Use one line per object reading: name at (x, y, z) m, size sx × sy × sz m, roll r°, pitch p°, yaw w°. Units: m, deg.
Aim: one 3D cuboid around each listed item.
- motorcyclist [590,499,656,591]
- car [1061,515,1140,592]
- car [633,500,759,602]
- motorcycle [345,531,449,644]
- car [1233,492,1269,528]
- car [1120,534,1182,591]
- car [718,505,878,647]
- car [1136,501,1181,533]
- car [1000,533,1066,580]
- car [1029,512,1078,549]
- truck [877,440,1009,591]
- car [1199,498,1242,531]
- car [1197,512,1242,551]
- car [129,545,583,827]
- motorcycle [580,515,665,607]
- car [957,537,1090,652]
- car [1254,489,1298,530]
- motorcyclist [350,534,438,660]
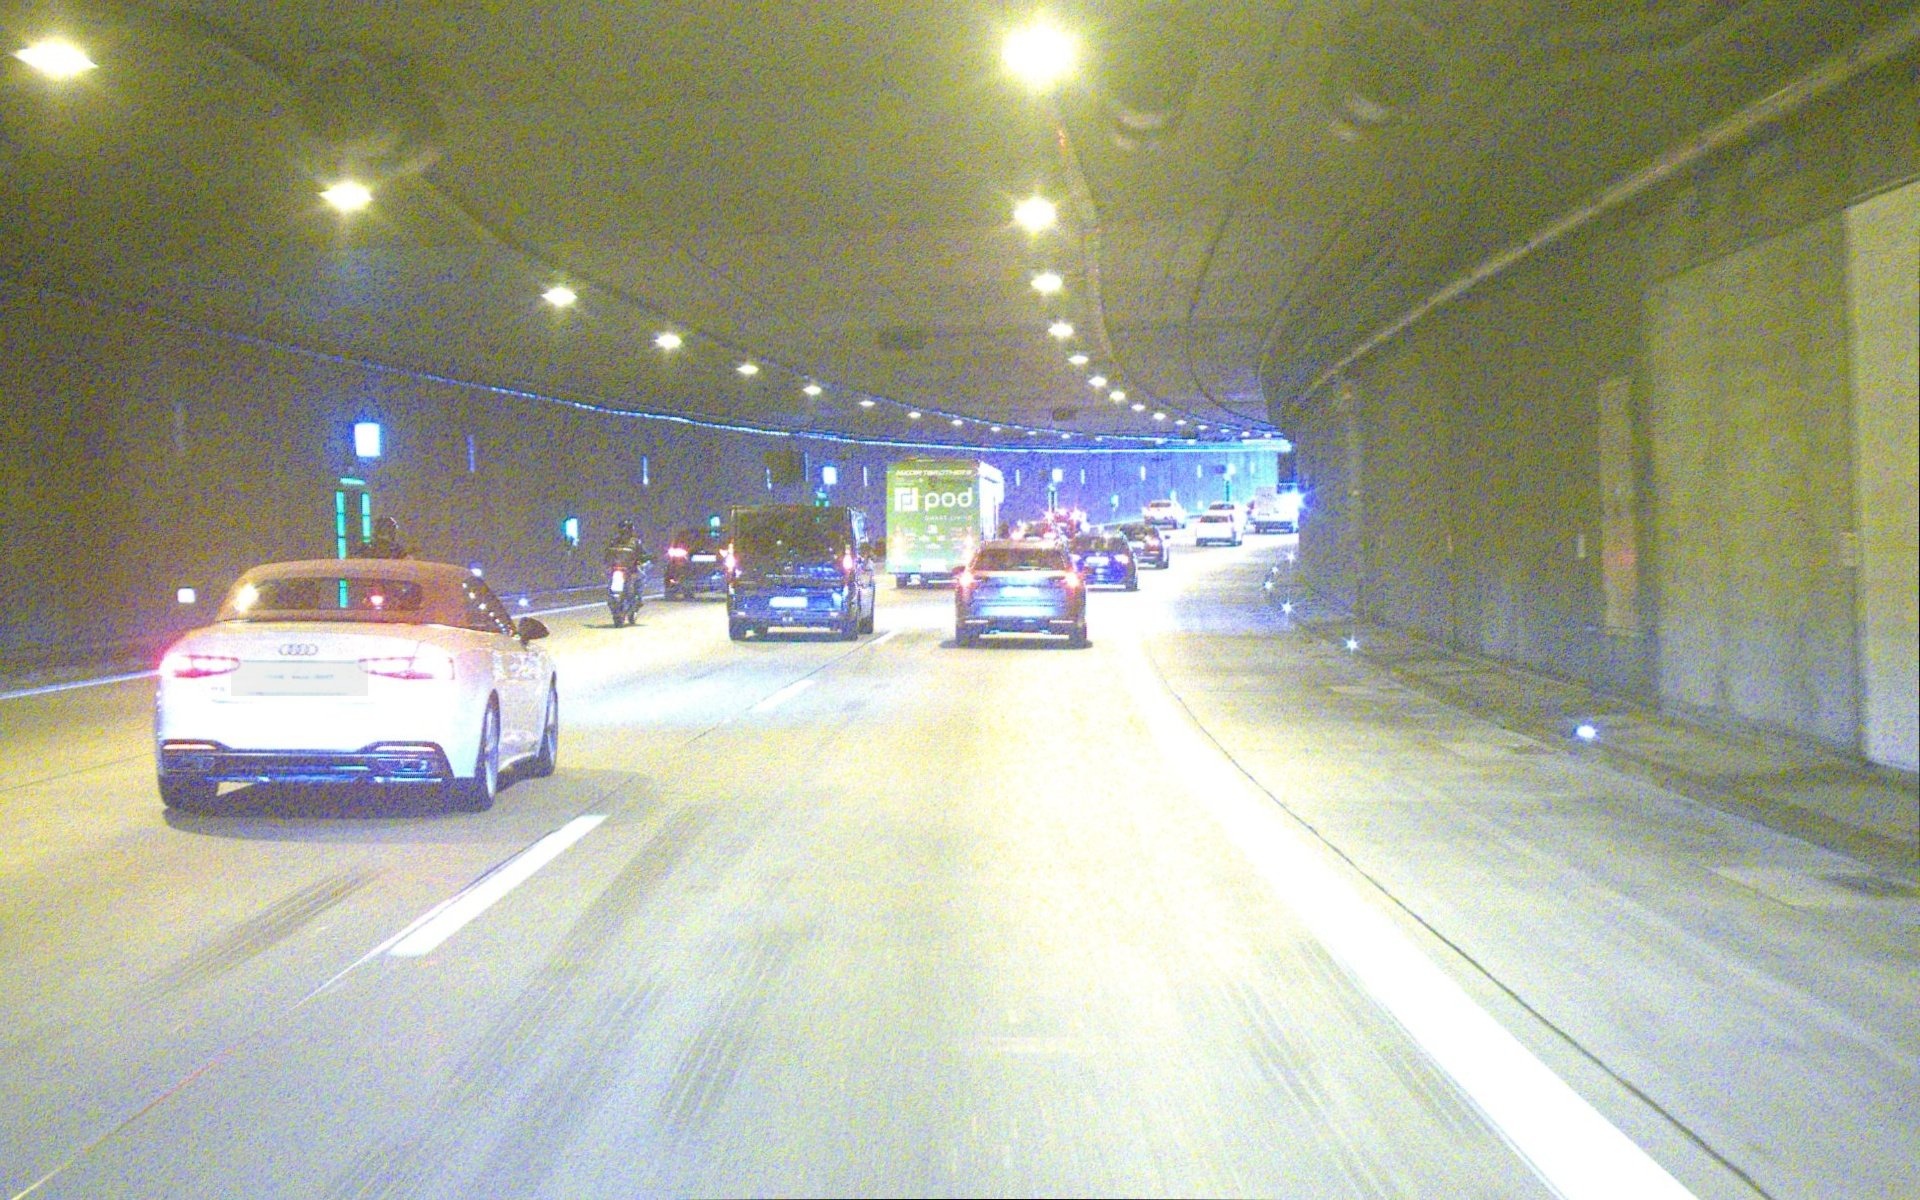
motorcyclist at (-5.434, -0.878, 55.562) m, size 0.806 × 1.443 × 1.865 m, roll 0°, pitch -1°, yaw 2°
car at (3.425, -1.142, 84.262) m, size 1.857 × 1.848 × 4.000 m, roll 0°, pitch 1°, yaw 2°
car at (-5.348, -1.005, 70.051) m, size 1.994 × 2.007 × 4.000 m, roll 0°, pitch 1°, yaw 4°
motorcycle at (-6.595, -0.148, 40.393) m, size 0.683 × 1.292 × 2.398 m, roll 0°, pitch 0°, yaw 4°
car at (16.841, -5.198, 199.077) m, size 1.994 × 2.007 × 3.999 m, roll 0°, pitch 0°, yaw 6°
car at (6.170, -1.201, 110.869) m, size 1.950 × 1.766 × 3.999 m, roll 0°, pitch 0°, yaw 3°
car at (-2.326, -0.392, 50.283) m, size 1.910 × 1.937 × 3.871 m, roll 0°, pitch 2°, yaw 4°
car at (10.806, -4.512, 186.770) m, size 1.931 × 1.637 × 3.998 m, roll 0°, pitch 0°, yaw 11°
car at (2.631, -1.566, 122.856) m, size 1.994 × 1.626 × 3.999 m, roll 1°, pitch 1°, yaw 6°
car at (4.258, -3.126, 155.992) m, size 1.931 × 1.637 × 3.999 m, roll 0°, pitch 1°, yaw 6°
truck at (-0.356, -2.103, 87.144) m, size 3.039 × 3.661 × 7.392 m, roll 0°, pitch 1°, yaw 2°
car at (13.924, -4.564, 183.763) m, size 1.994 × 1.626 × 3.998 m, roll 0°, pitch 0°, yaw 9°
car at (11.284, -2.971, 149.660) m, size 1.931 × 1.637 × 3.999 m, roll 0°, pitch 0°, yaw 4°
car at (-3.422, 0.408, 20.421) m, size 1.702 × 1.414 × 5.060 m, roll 0°, pitch 2°, yaw 1°
motorcycle at (-5.444, -0.615, 55.618) m, size 0.926 × 1.429 × 2.963 m, roll 1°, pitch 0°, yaw 3°
car at (0.927, -0.106, 48.234) m, size 1.742 × 1.459 × 3.871 m, roll 0°, pitch 2°, yaw 3°
car at (16.333, -4.652, 177.660) m, size 1.994 × 2.007 × 3.998 m, roll 0°, pitch 0°, yaw 9°
motorcyclist at (-6.629, -0.035, 40.312) m, size 0.777 × 1.447 × 1.069 m, roll 0°, pitch 0°, yaw 4°
